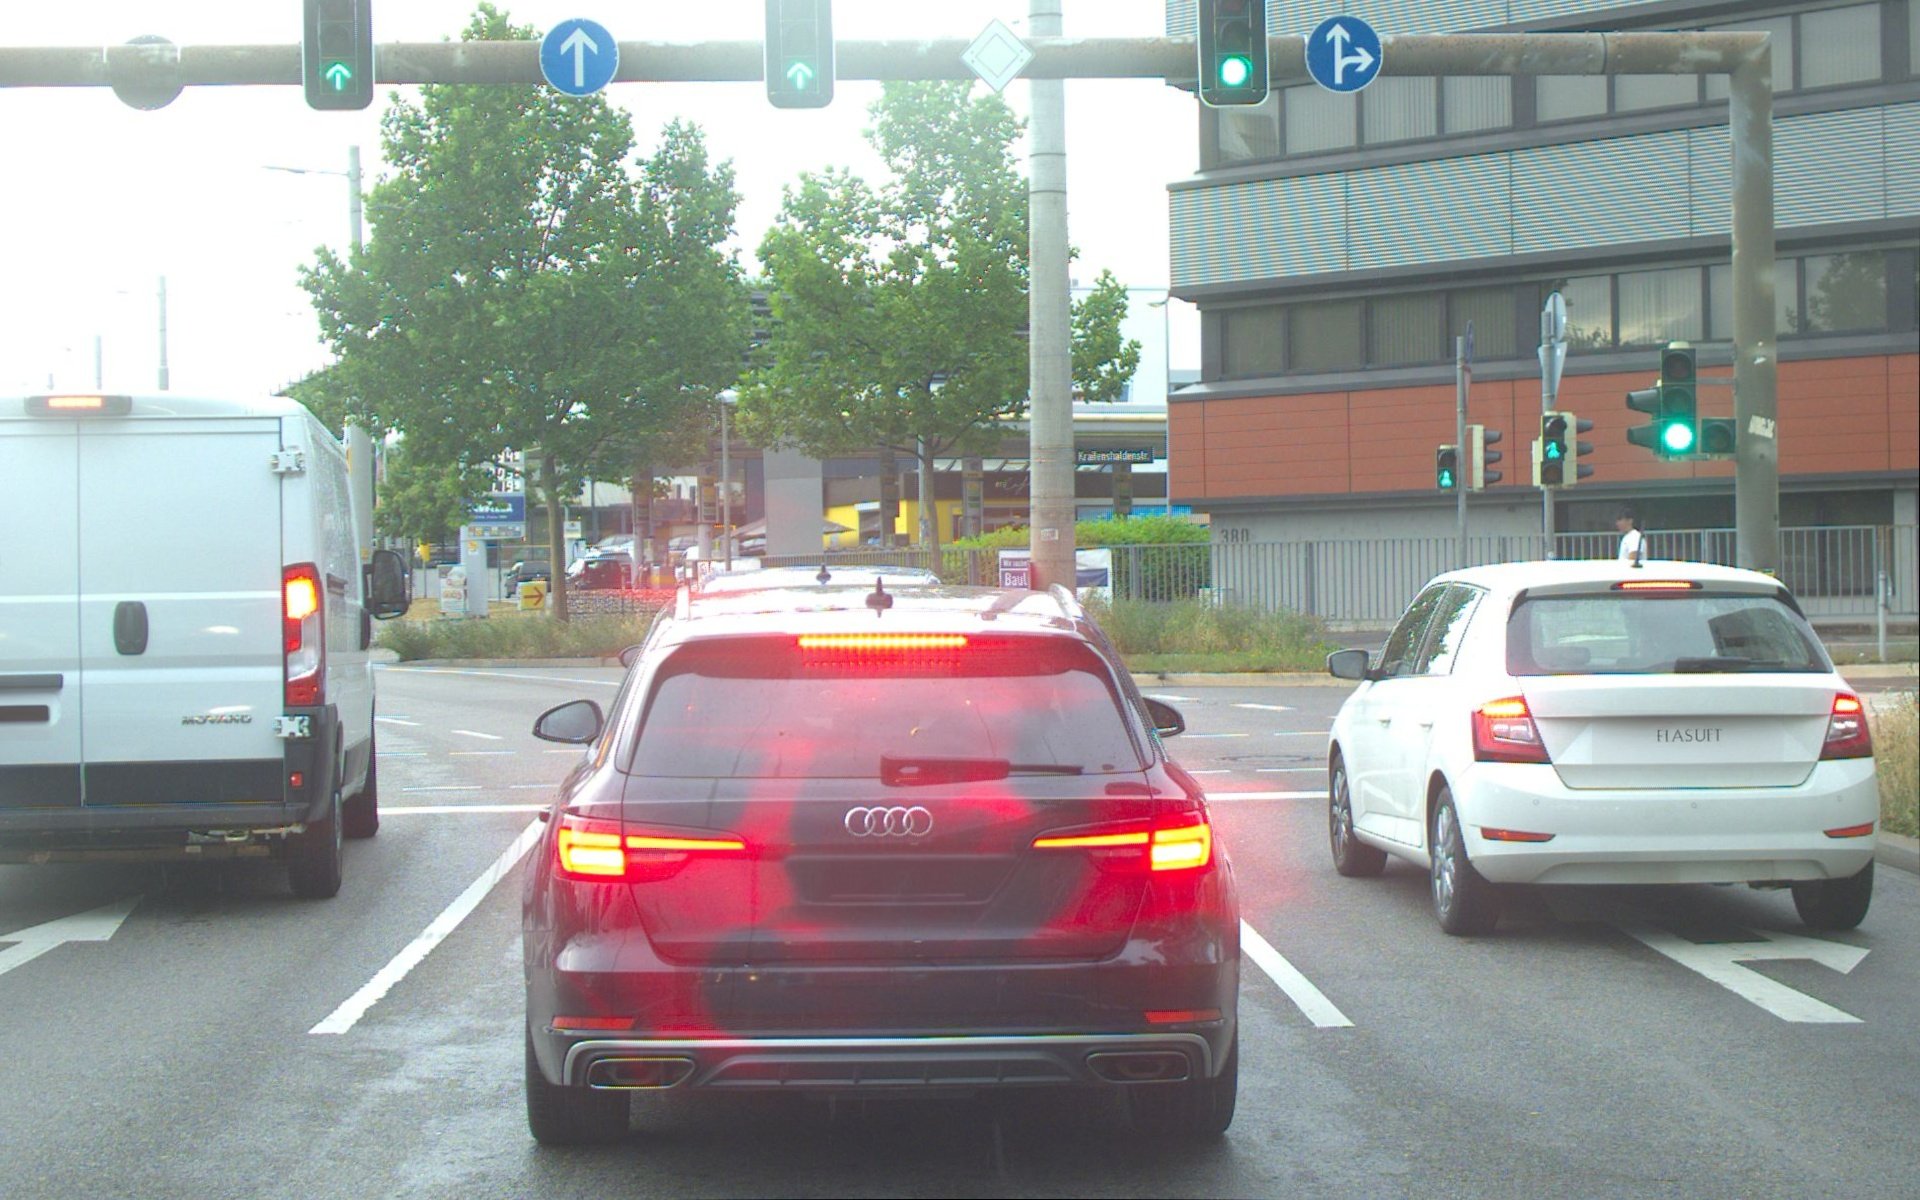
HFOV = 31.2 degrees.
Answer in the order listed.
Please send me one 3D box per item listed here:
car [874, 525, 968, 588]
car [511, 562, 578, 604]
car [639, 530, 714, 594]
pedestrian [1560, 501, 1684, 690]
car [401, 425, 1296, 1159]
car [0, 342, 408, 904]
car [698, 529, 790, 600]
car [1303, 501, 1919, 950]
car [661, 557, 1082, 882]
[{"bbox_3d":[-1.335,-1.441,114.964,1.869,2.007,3.775,2,-1,-22],"label":"car"},{"bbox_3d":[-16.230,-0.658,134.082,1.791,1.586,4.001,-1,1,-19],"label":"car"},{"bbox_3d":[-9.221,-1.209,111.619,1.678,2.007,3.543,2,0,-17],"label":"car"},{"bbox_3d":[7.652,-0.066,39.783,1.143,2.118,1.222,-2,2,-1],"label":"pedestrian"},{"bbox_3d":[-0.273,0.444,9.703,1.993,1.632,4.000,0,0,-1],"label":"car"},{"bbox_3d":[-4.051,0.097,16.563,2.445,2.286,4.905,2,0,-6],"label":"car"},{"bbox_3d":[-6.480,-1.061,102.761,1.993,2.025,4.001,-2,1,-14],"label":"car"},{"bbox_3d":[2.622,0.476,14.670,1.829,1.650,4.000,0,0,-1],"label":"car"},{"bbox_3d":[-0.376,0.549,17.488,1.894,1.460,3.909,0,0,1],"label":"car"}]
